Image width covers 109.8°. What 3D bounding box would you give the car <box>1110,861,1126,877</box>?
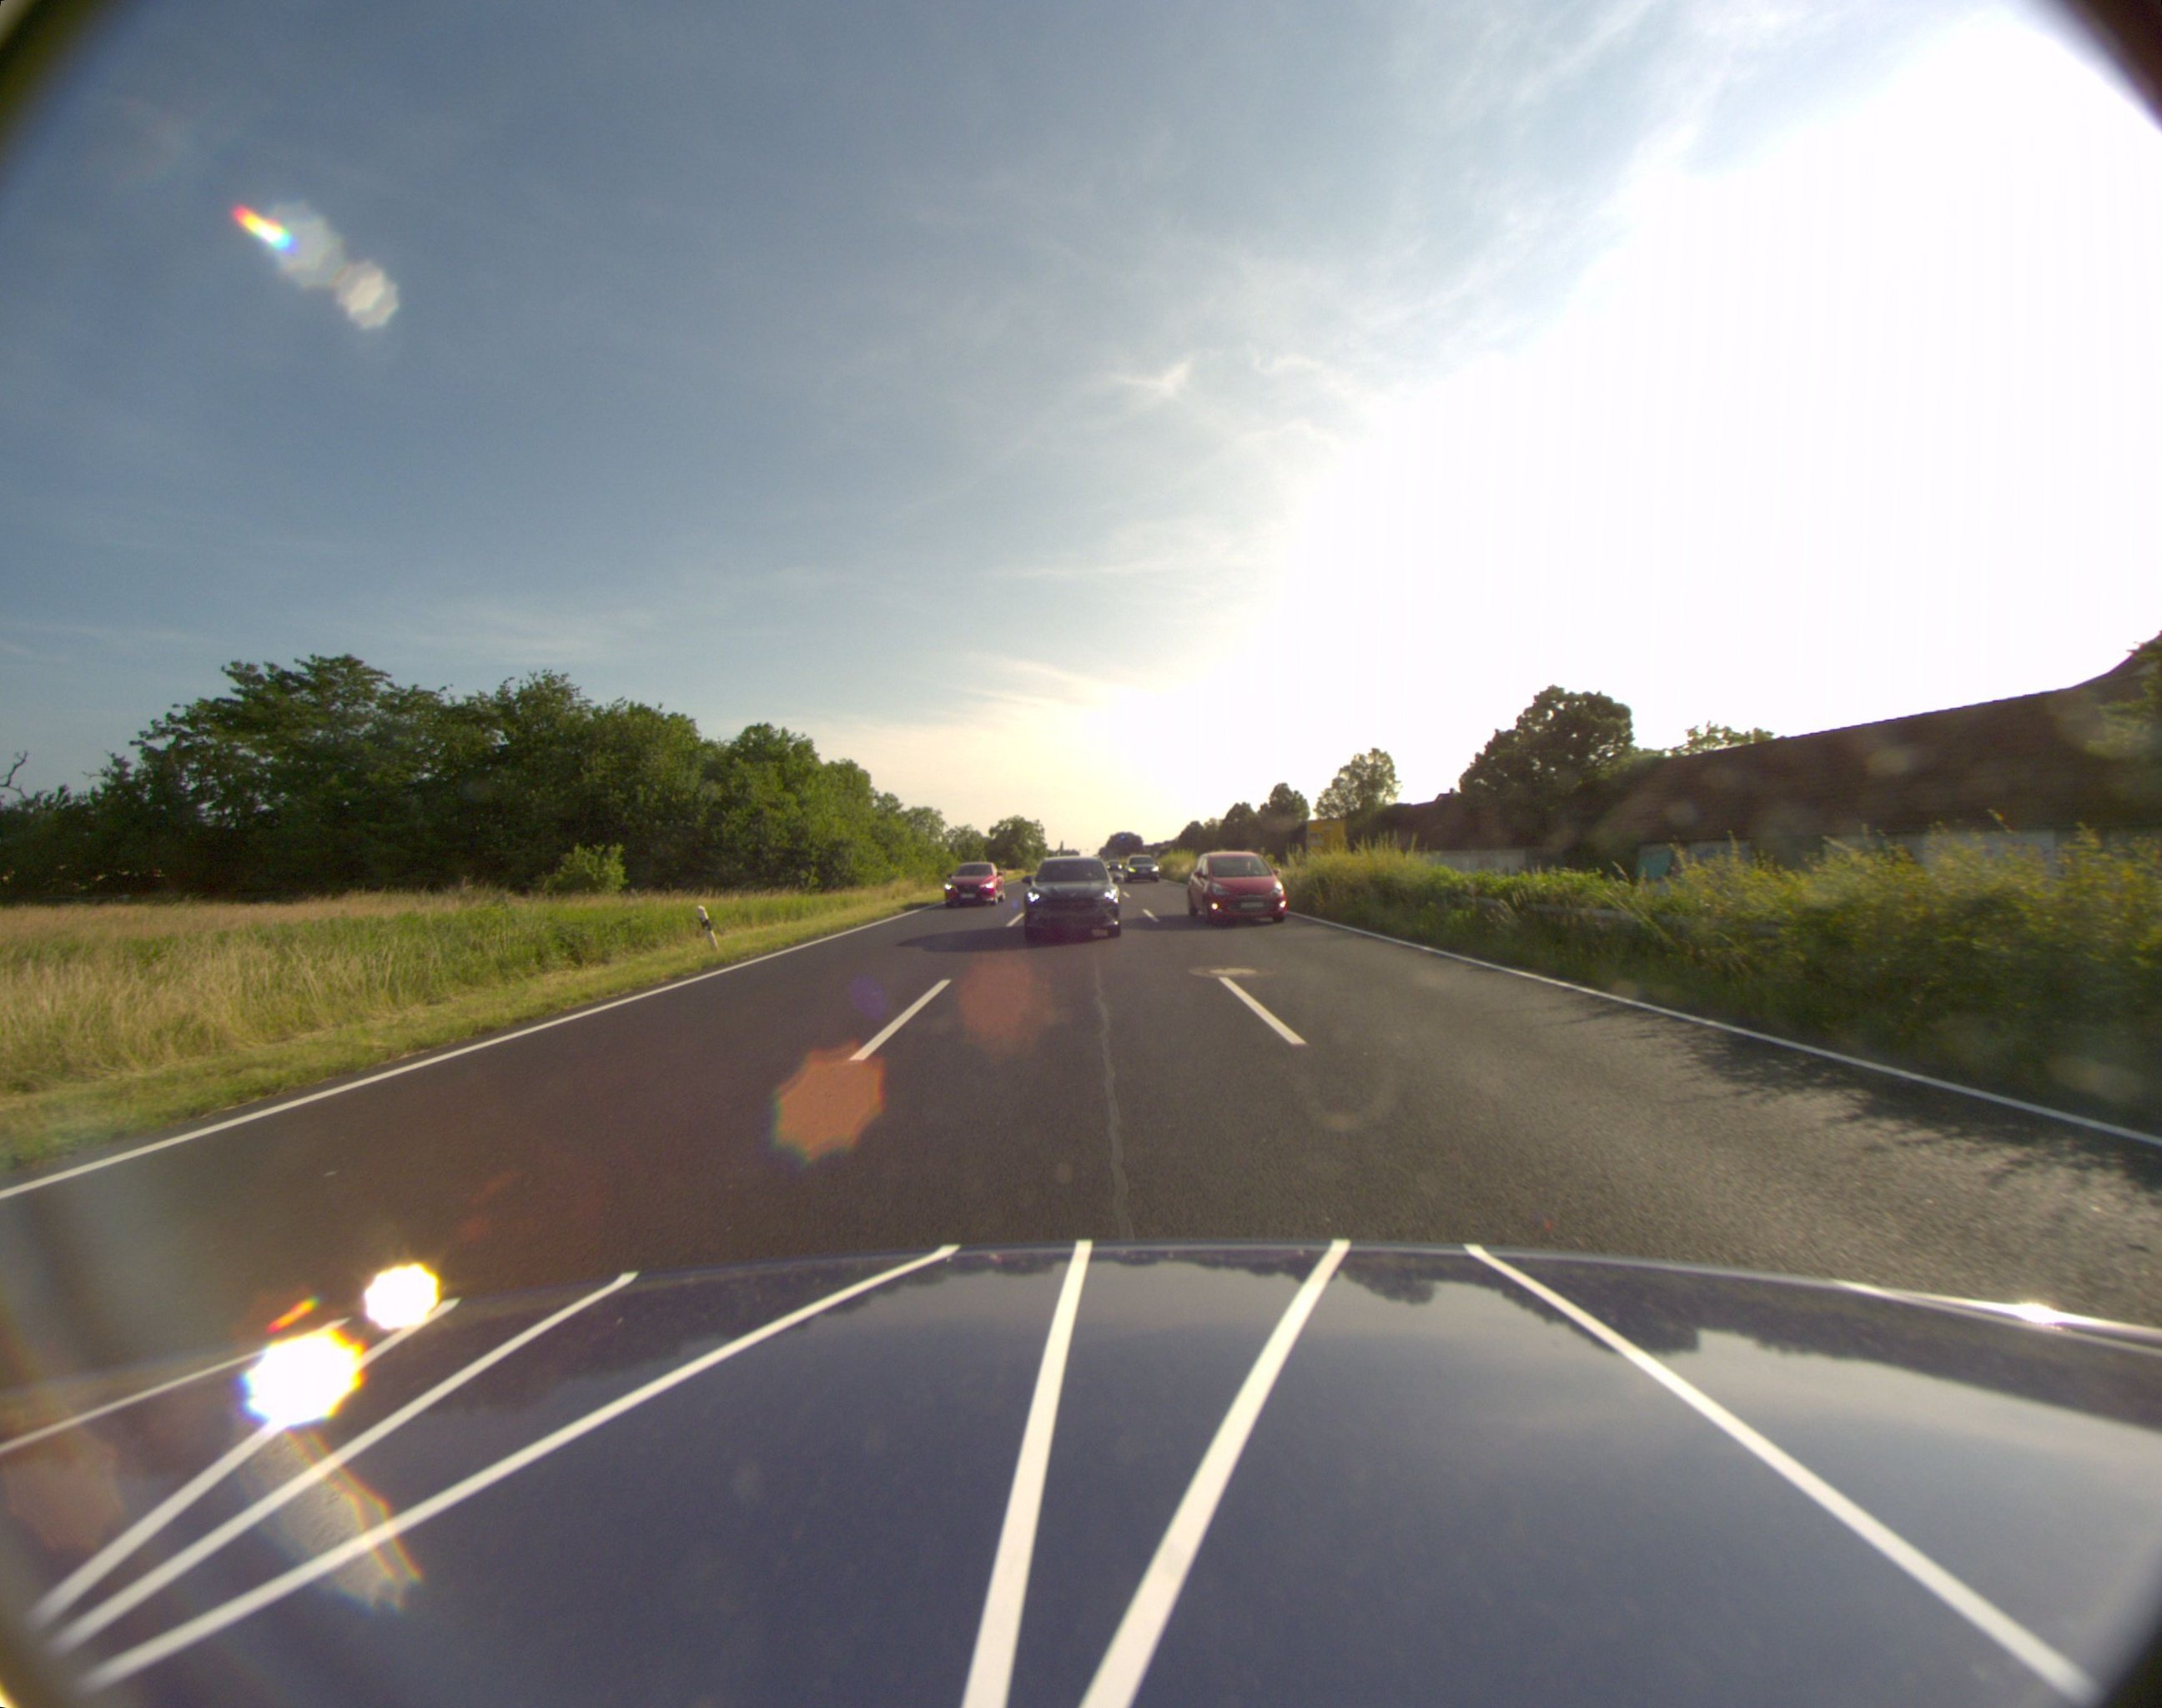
[{"bbox_3d":[4.691,1.852,97.254,1.918,1.871,4.000,-2,1,1],"label":"car"}]

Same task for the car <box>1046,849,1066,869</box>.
[{"bbox_3d":[-2.601,0.495,78.714,1.999,2.002,3.999,-2,1,-2],"label":"car"}]

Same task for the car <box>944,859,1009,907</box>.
[{"bbox_3d":[-3.725,0.987,27.717,1.708,1.497,4.500,-2,0,0],"label":"car"}]

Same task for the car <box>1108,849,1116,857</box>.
[{"bbox_3d":[8.181,-0.316,202.139,1.998,2.002,4.000,-2,1,1],"label":"car"}]

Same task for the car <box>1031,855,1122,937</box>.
[{"bbox_3d":[-0.062,0.860,17.684,1.791,1.594,4.339,-2,1,1],"label":"car"}]

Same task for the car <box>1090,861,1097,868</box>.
[{"bbox_3d":[3.688,3.079,228.109,1.998,2.002,4.000,-2,1,1],"label":"car"}]

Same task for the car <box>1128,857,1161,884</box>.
[{"bbox_3d":[3.959,1.010,47.869,1.719,1.521,4.000,-2,1,1],"label":"car"}]

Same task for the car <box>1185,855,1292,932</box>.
[{"bbox_3d":[3.618,0.839,18.145,1.748,1.537,4.000,-2,1,1],"label":"car"}]
